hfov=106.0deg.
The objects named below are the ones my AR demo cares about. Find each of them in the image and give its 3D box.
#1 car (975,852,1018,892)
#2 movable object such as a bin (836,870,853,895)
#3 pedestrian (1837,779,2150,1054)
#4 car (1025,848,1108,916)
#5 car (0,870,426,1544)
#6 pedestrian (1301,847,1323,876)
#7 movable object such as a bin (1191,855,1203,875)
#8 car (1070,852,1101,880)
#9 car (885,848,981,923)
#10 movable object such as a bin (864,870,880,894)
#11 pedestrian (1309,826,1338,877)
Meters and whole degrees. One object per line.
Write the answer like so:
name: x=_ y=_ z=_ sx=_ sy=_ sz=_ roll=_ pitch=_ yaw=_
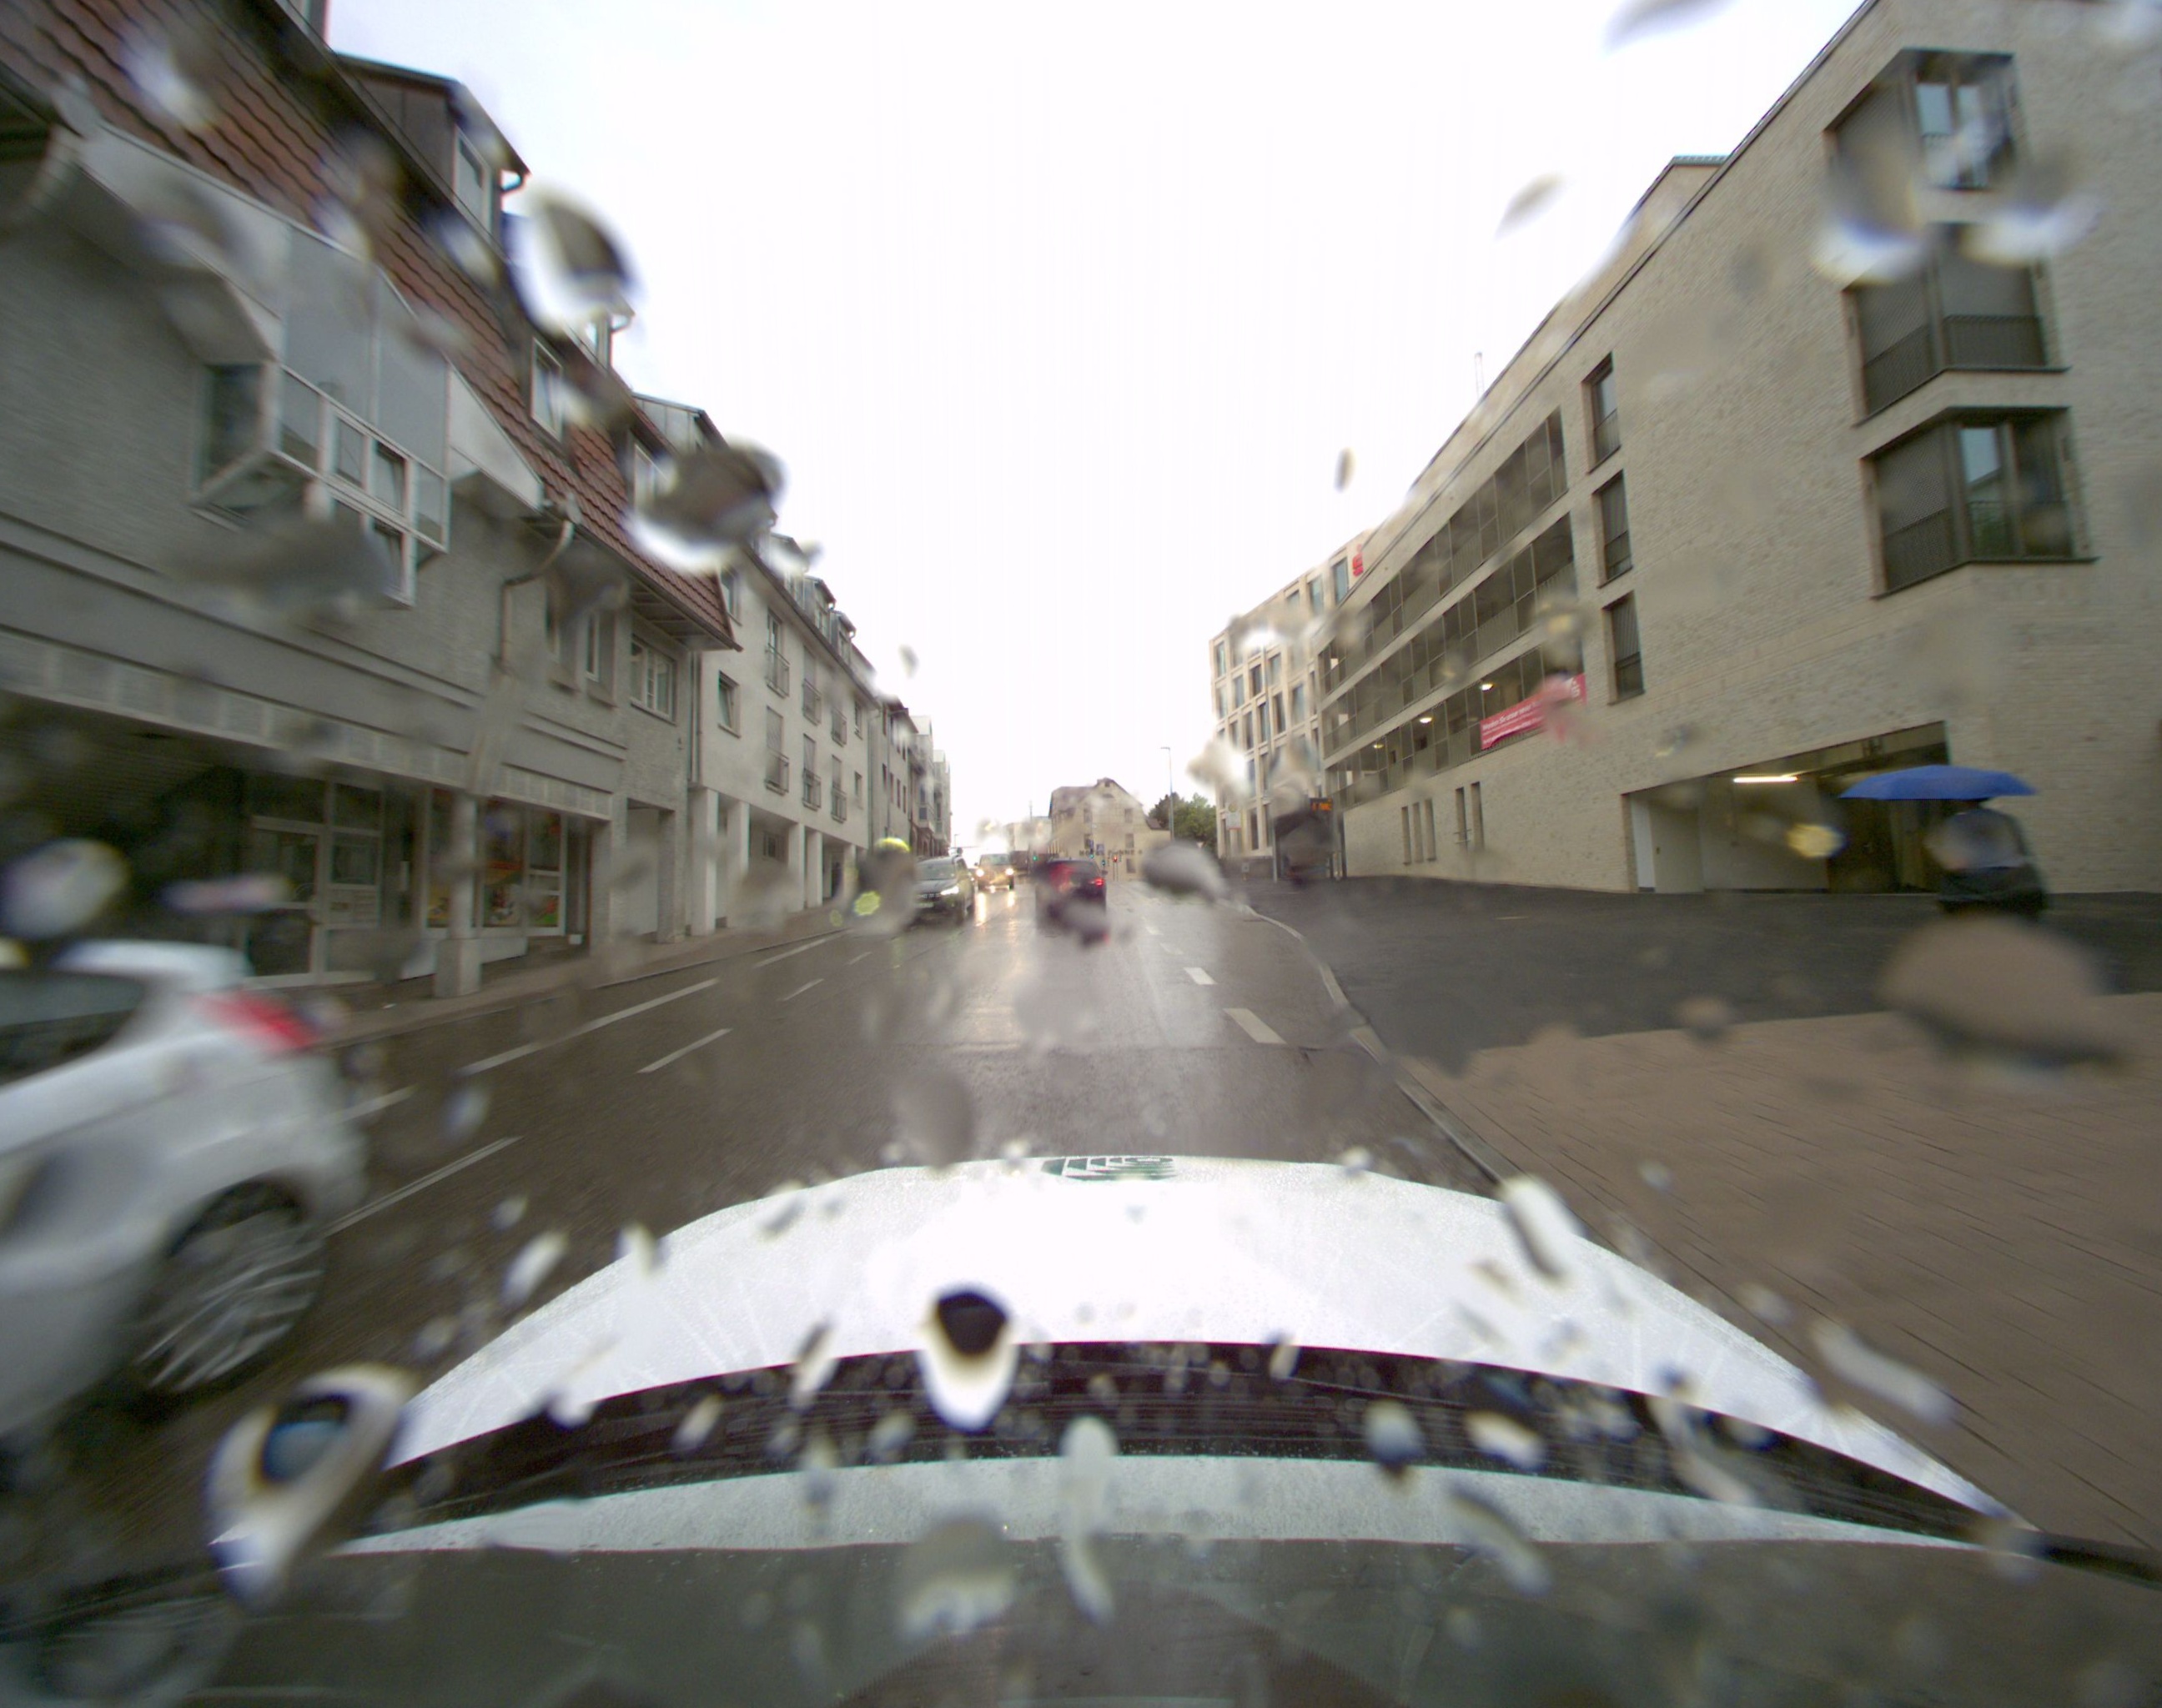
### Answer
car: x=-4.488 y=0.945 z=44.048 sx=1.927 sy=1.907 sz=5.038 roll=-3 pitch=0 yaw=-3
movable object such as a bin: x=-9.802 y=1.174 z=33.769 sx=0.507 sy=1.006 sz=0.584 roll=-2 pitch=0 yaw=-3
pedestrian: x=5.780 y=0.365 z=5.255 sx=0.732 sy=1.542 sz=1.039 roll=-5 pitch=-1 yaw=4
car: x=-0.407 y=0.693 z=21.771 sx=1.939 sy=1.567 sz=4.414 roll=-2 pitch=0 yaw=-2
car: x=-3.297 y=0.833 z=1.248 sx=1.672 sy=1.510 sz=3.587 roll=-2 pitch=0 yaw=-1
pedestrian: x=9.593 y=0.319 z=33.887 sx=0.669 sy=1.162 sz=0.635 roll=-4 pitch=-1 yaw=1
movable object such as a bin: x=6.411 y=0.588 z=45.024 sx=0.593 sy=1.062 sz=0.579 roll=-2 pitch=-1 yaw=0
car: x=0.217 y=0.662 z=46.703 sx=1.672 sy=1.510 sz=3.586 roll=-2 pitch=0 yaw=-1
car: x=-3.754 y=0.756 z=21.325 sx=1.777 sy=1.694 sz=4.456 roll=-2 pitch=0 yaw=-2
movable object such as a bin: x=-8.725 y=1.162 z=33.960 sx=0.507 sy=1.006 sz=0.584 roll=-2 pitch=0 yaw=-3
pedestrian: x=9.689 y=-0.099 z=32.552 sx=0.779 sy=1.940 sz=1.021 roll=-4 pitch=-1 yaw=1
